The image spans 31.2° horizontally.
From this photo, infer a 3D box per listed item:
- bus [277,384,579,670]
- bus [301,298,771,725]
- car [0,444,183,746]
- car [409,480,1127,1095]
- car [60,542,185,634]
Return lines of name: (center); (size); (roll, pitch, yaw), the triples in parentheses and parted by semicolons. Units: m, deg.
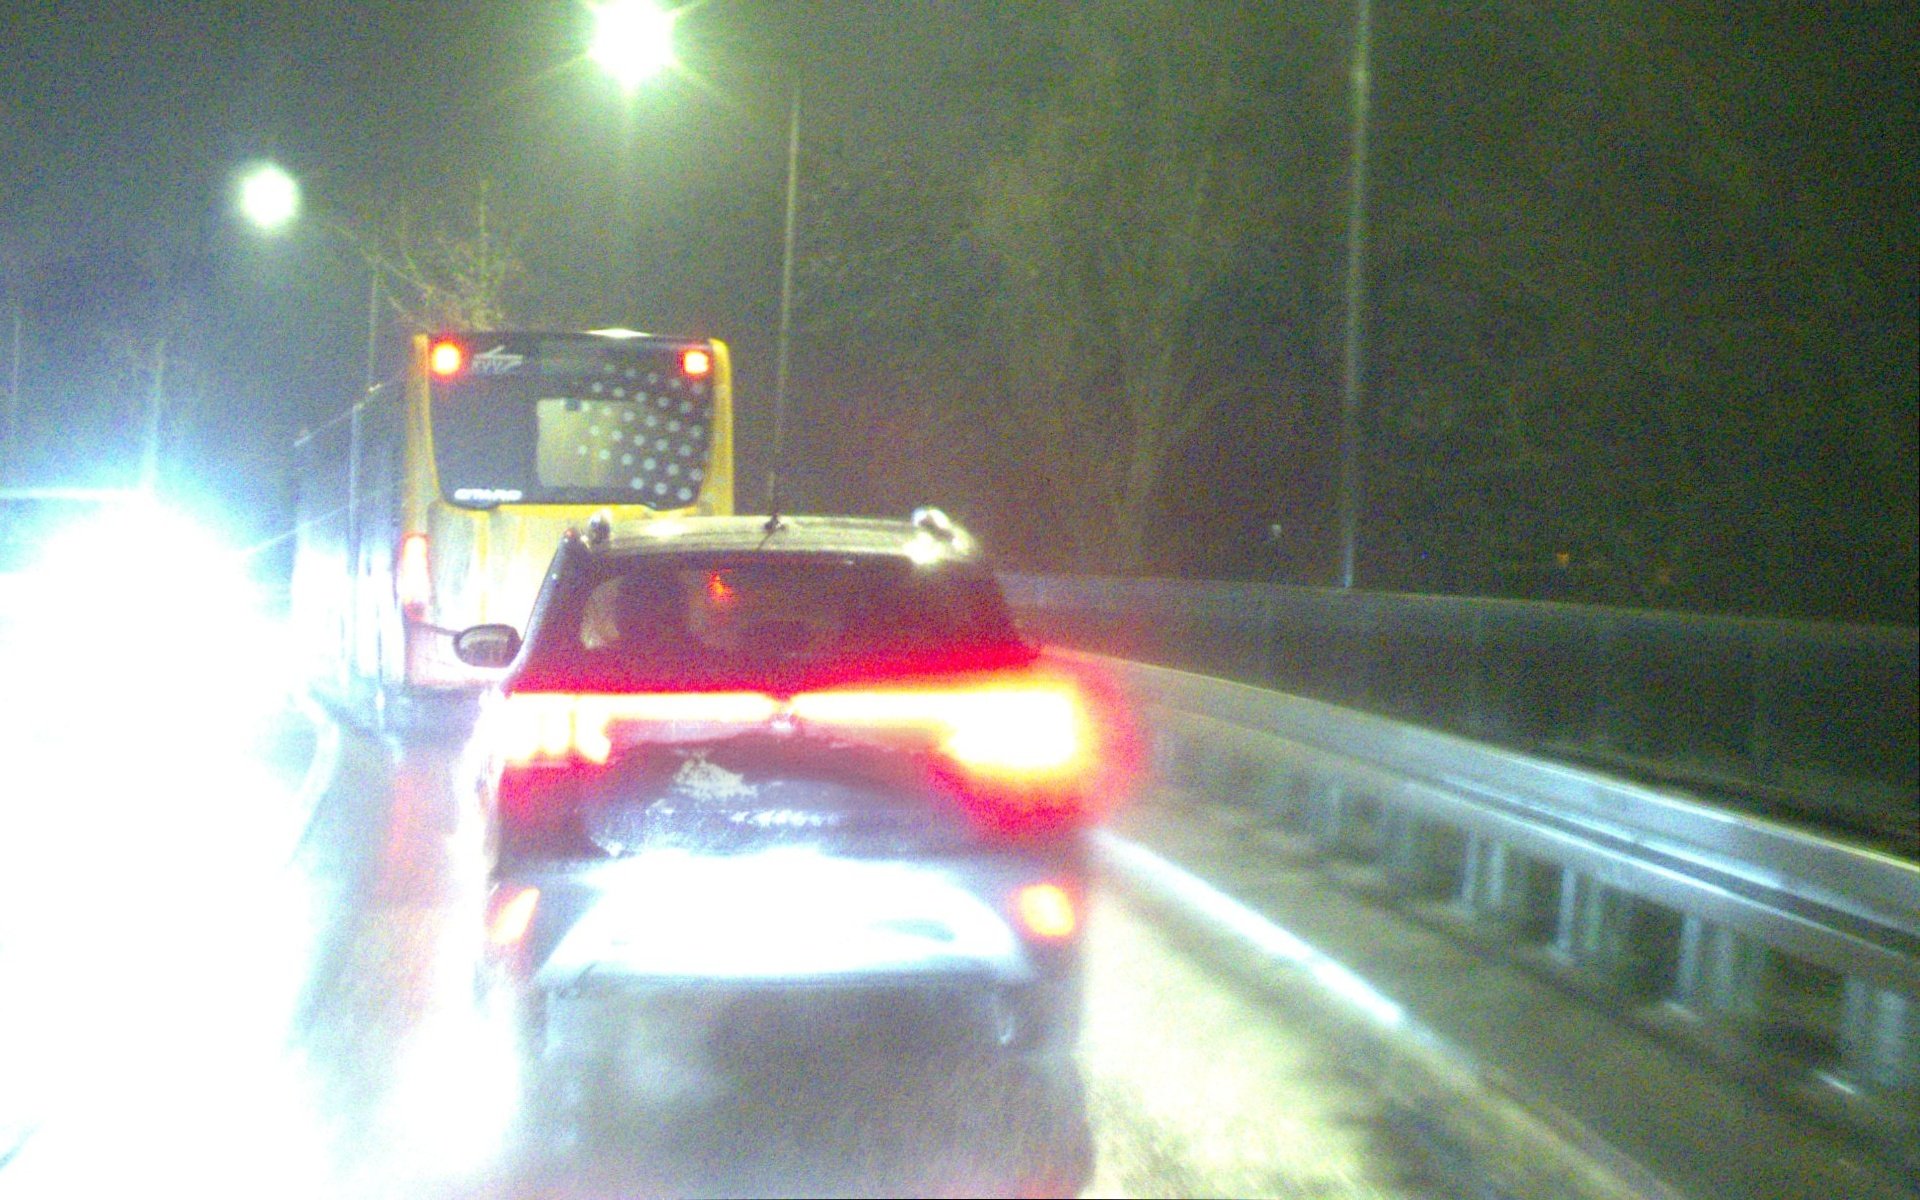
bus: (-6.621, -0.980, 41.808); (3.048, 3.121, 8.081); (-1, 2, -13)
bus: (-4.303, -0.803, 31.666); (3.082, 3.122, 12.701); (-1, 1, -12)
car: (-7.257, -0.070, 27.258); (2.043, 2.162, 5.156); (-1, 1, -12)
car: (-0.658, 0.449, 10.892); (1.855, 1.581, 4.001); (0, 1, -5)
car: (-16.434, -0.216, 67.346); (1.636, 1.650, 3.710); (-3, 0, -25)
